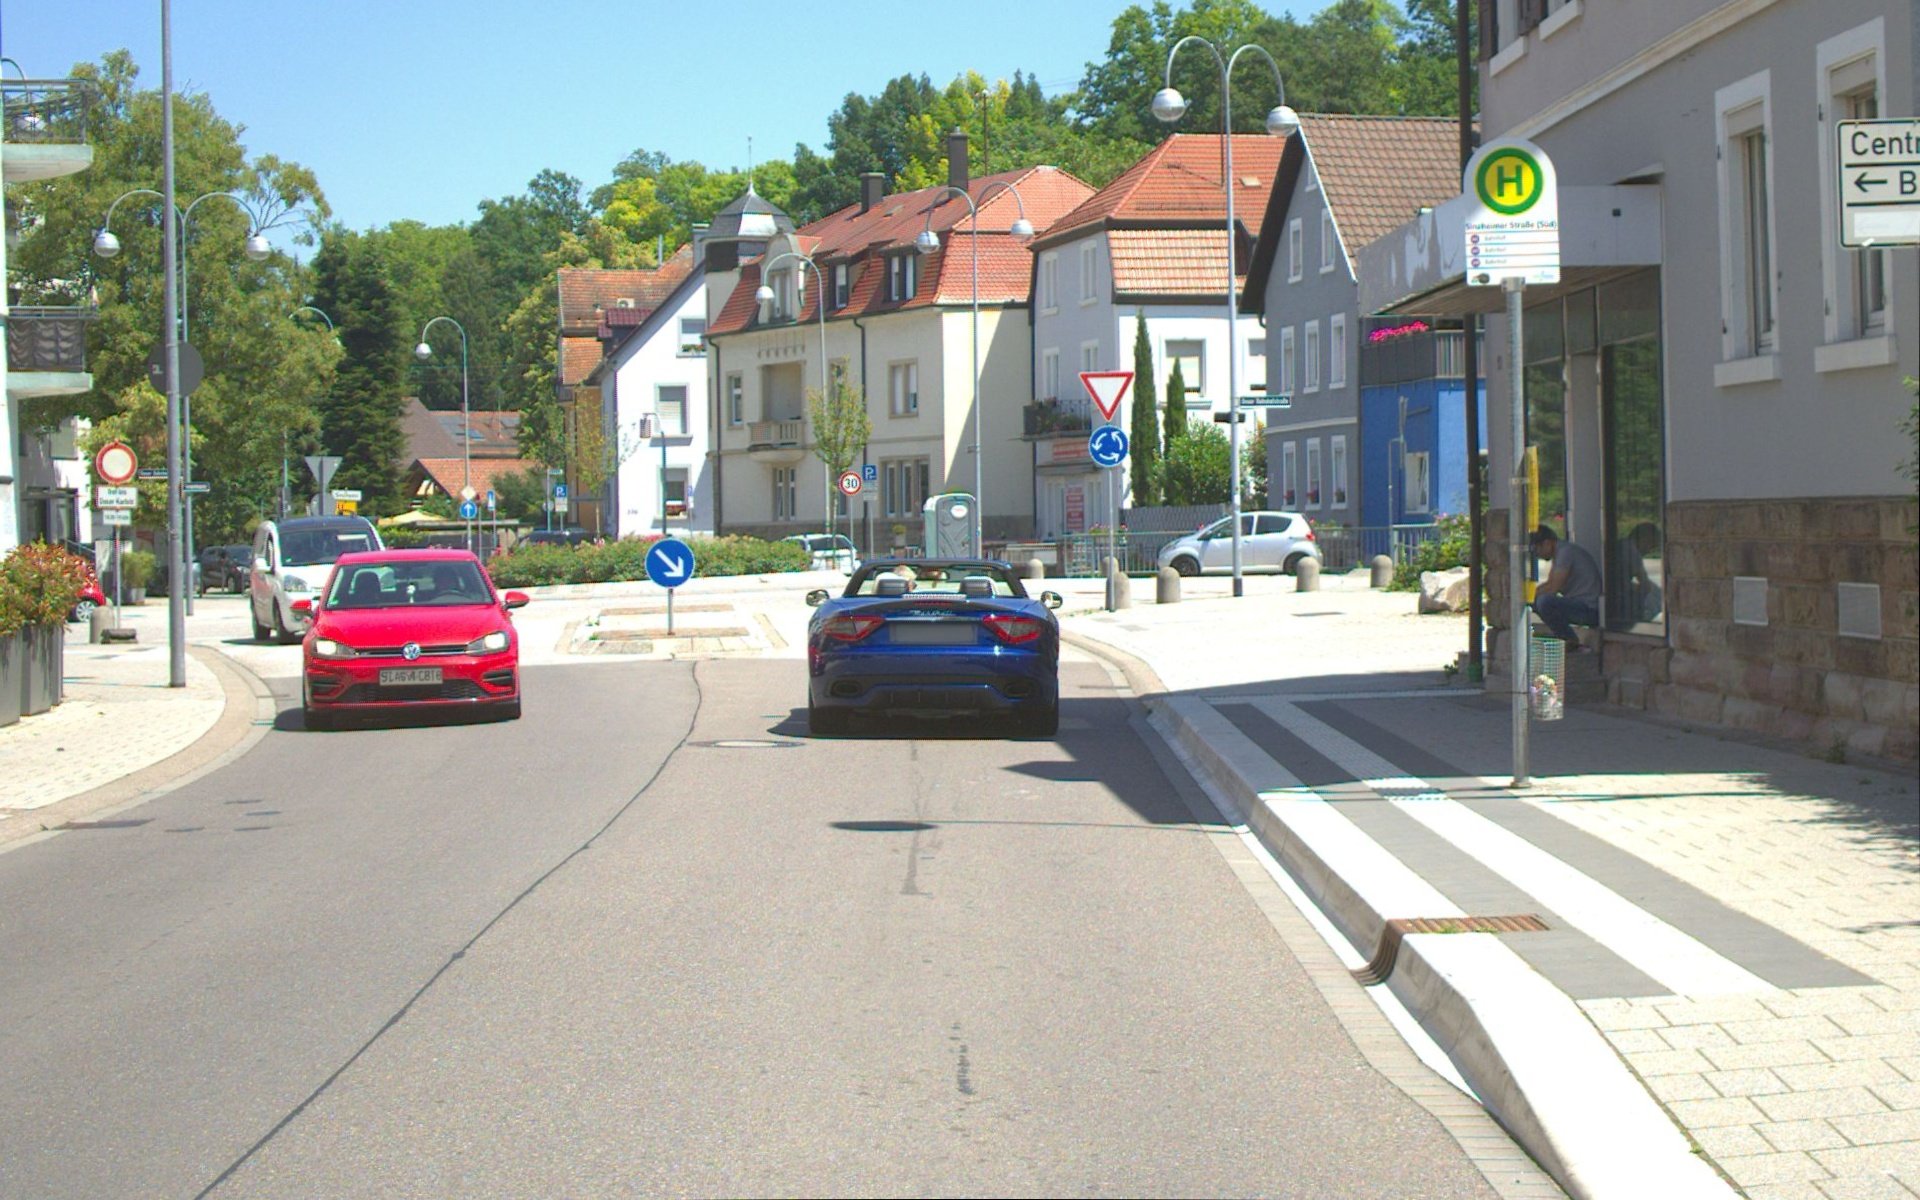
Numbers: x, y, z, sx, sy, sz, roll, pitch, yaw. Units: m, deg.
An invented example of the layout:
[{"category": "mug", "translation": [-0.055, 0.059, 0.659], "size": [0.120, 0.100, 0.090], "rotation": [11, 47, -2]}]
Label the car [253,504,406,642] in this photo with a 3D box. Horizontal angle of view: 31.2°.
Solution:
[{"category": "car", "translation": [-9.067, -0.404, 49.427], "size": [1.993, 1.816, 4.417], "rotation": [-2, 1, -11]}]

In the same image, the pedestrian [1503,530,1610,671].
[{"category": "pedestrian", "translation": [4.365, -0.003, 25.187], "size": [0.590, 0.996, 0.724], "rotation": [-2, 1, -3]}]

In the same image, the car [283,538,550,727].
[{"category": "car", "translation": [-4.607, 0.225, 29.645], "size": [1.915, 1.422, 3.981], "rotation": [-3, 1, -5]}]

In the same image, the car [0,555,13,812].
[{"category": "car", "translation": [-6.370, 0.495, 17.676], "size": [1.915, 1.476, 4.338], "rotation": [2, 1, -2]}]

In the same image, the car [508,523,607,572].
[{"category": "car", "translation": [-14.009, -1.806, 119.547], "size": [1.850, 1.582, 4.000], "rotation": [-3, 2, -31]}]

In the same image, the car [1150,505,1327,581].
[{"category": "car", "translation": [5.773, -1.177, 71.124], "size": [3.460, 1.445, 1.579], "rotation": [-2, 1, 11]}]

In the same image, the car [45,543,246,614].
[{"category": "car", "translation": [-16.249, -0.439, 68.560], "size": [3.743, 1.327, 1.814], "rotation": [-1, 1, -18]}]

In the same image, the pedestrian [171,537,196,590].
[{"category": "pedestrian", "translation": [-23.295, -1.108, 103.152], "size": [0.535, 1.570, 0.562], "rotation": [-1, 1, 10]}]

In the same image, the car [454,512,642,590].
[{"category": "car", "translation": [-7.625, -0.889, 63.297], "size": [1.993, 1.325, 4.201], "rotation": [-3, 1, -28]}]

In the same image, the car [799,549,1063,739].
[{"category": "car", "translation": [-0.219, 0.289, 27.068], "size": [1.910, 1.356, 4.286], "rotation": [0, 1, 0]}]

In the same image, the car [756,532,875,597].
[{"category": "car", "translation": [-3.905, -0.947, 92.507], "size": [1.918, 1.607, 4.148], "rotation": [-2, 0, -21]}]
